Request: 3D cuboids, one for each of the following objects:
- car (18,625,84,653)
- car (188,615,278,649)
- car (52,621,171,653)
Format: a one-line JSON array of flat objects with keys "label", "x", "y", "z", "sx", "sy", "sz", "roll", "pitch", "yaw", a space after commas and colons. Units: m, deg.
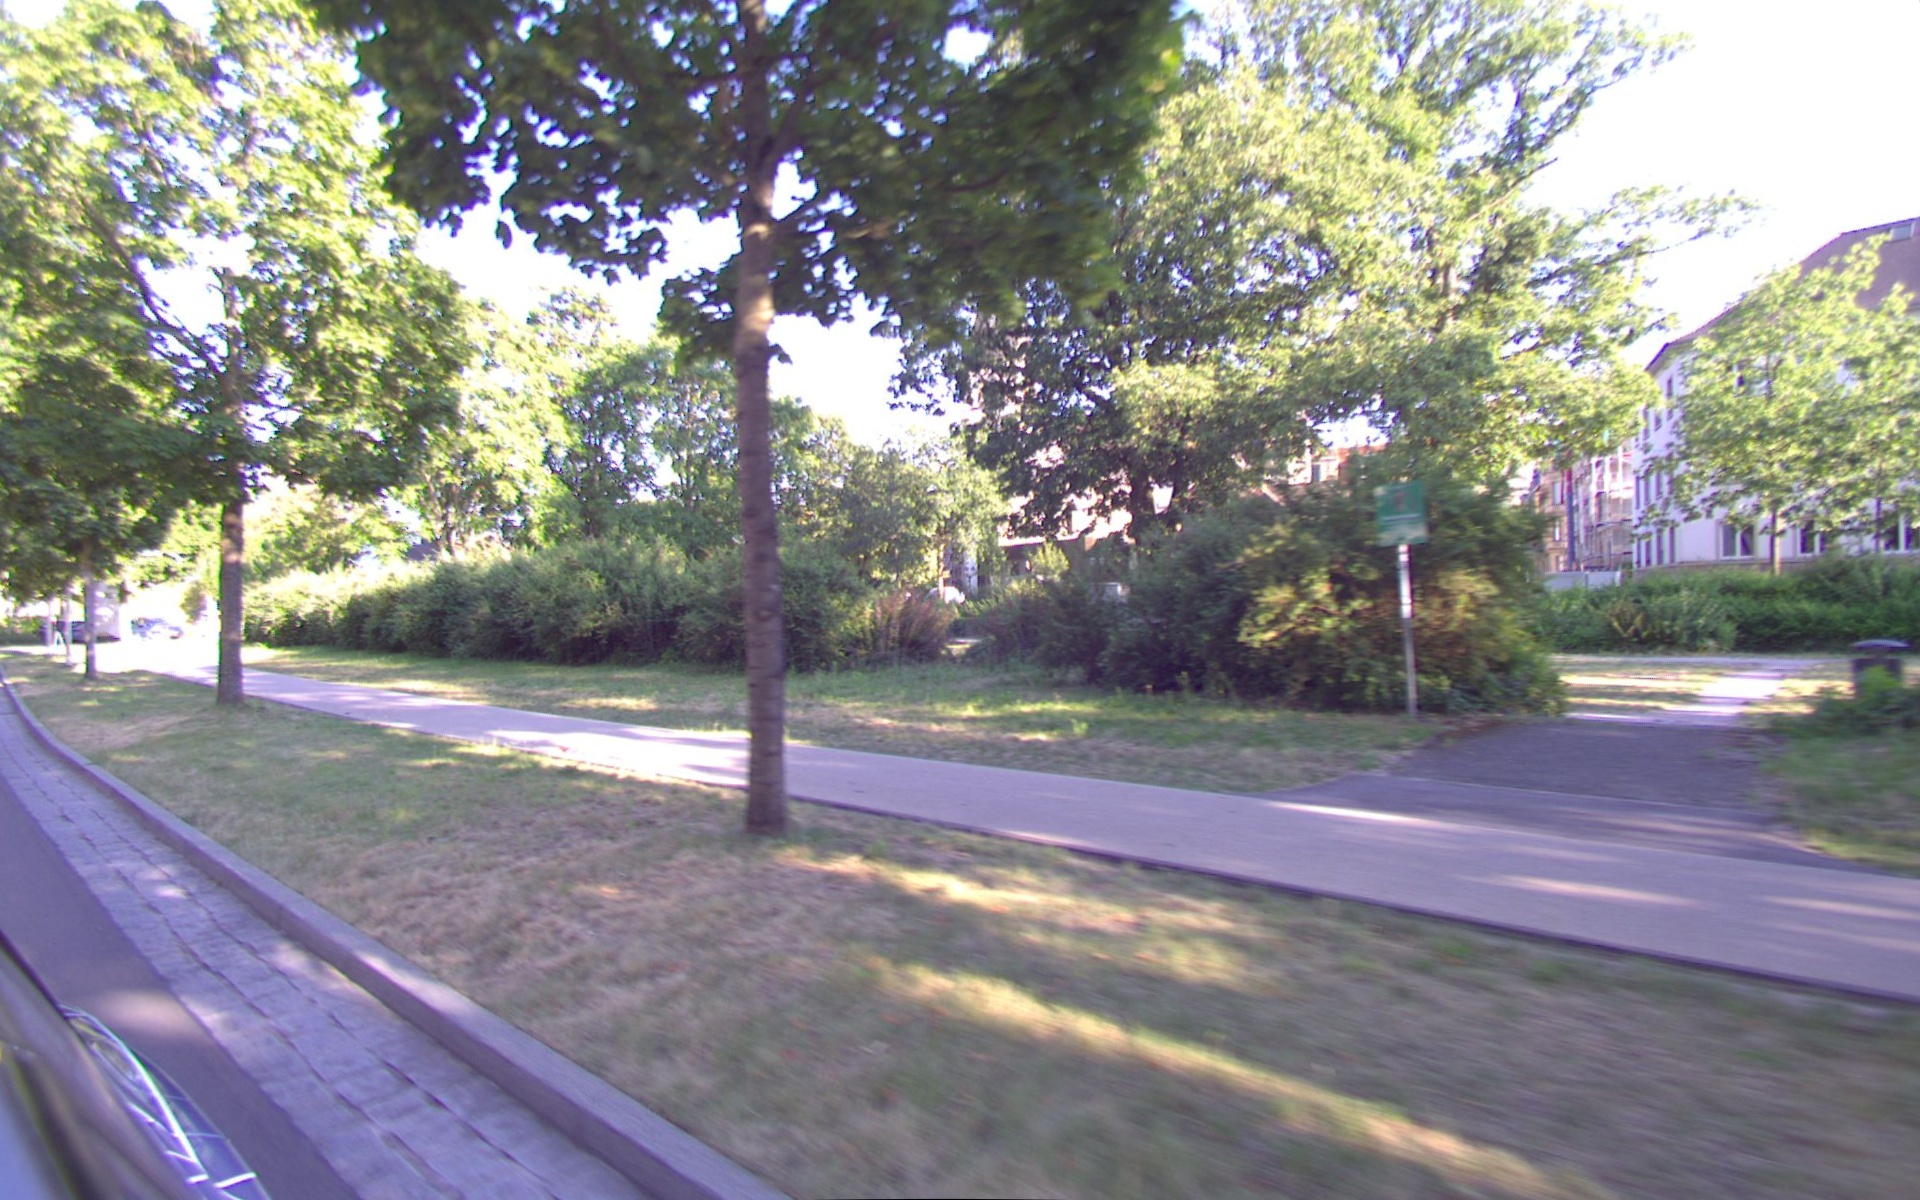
[{"label": "car", "x": -55.612, "y": 2.378, "z": 61.925, "sx": 3.978, "sy": 1.527, "sz": 1.631, "roll": 1, "pitch": 0, "yaw": 26}, {"label": "car", "x": -44.845, "y": 1.936, "z": 62.515, "sx": 1.754, "sy": 1.931, "sz": 4.199, "roll": -2, "pitch": -1, "yaw": 27}, {"label": "car", "x": -47.541, "y": 2.066, "z": 56.810, "sx": 1.859, "sy": 1.570, "sz": 4.793, "roll": -2, "pitch": -1, "yaw": 27}]
